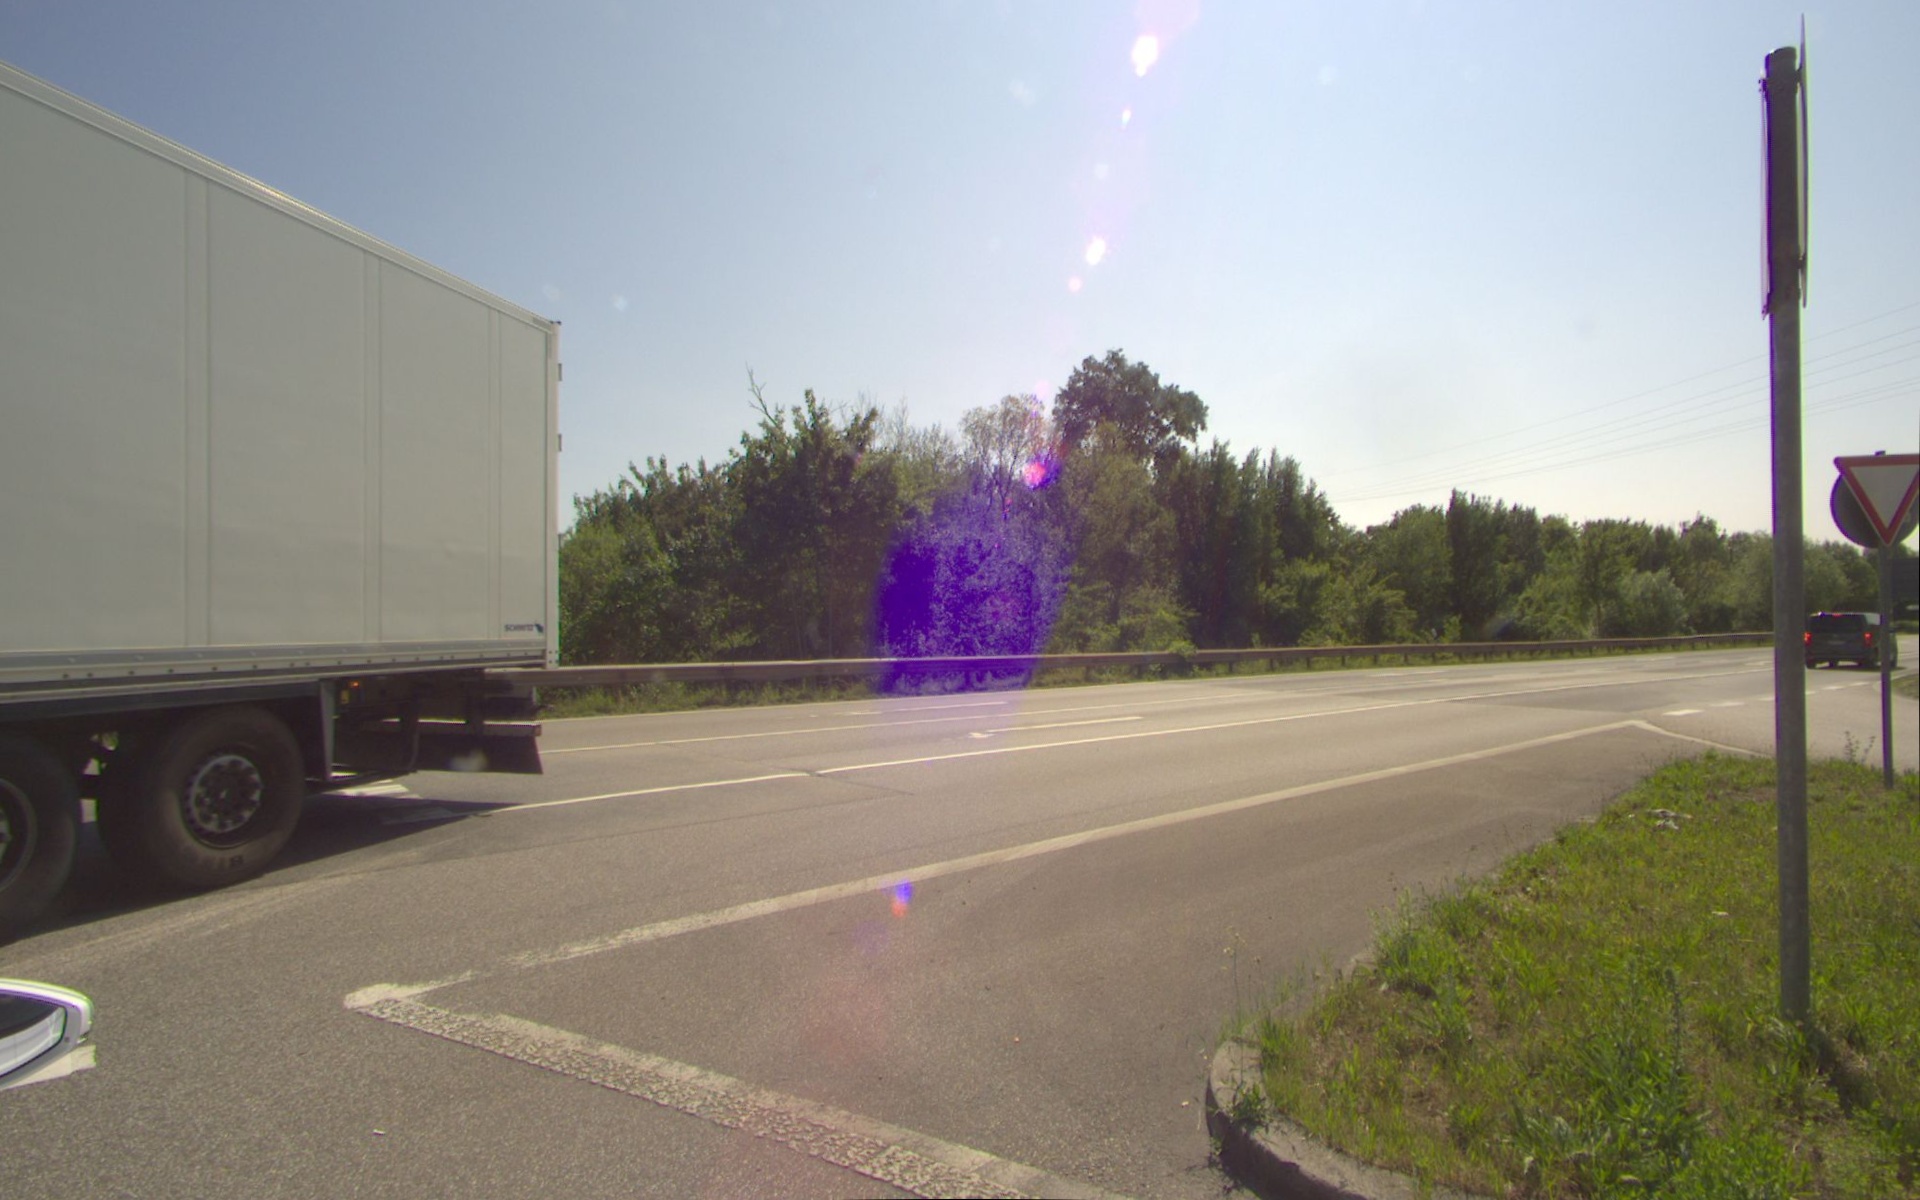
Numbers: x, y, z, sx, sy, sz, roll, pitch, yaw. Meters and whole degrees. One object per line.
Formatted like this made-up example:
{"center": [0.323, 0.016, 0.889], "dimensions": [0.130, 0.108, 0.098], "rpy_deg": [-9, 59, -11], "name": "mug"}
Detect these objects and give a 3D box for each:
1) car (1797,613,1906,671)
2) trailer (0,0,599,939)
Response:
{"center": [31.355, 1.462, 35.189], "dimensions": [4.935, 1.903, 1.985], "rpy_deg": [2, -2, -38], "name": "car"}
{"center": [-6.186, -0.666, 2.344], "dimensions": [2.842, 4.219, 13.971], "rpy_deg": [0, -1, 13], "name": "trailer"}
